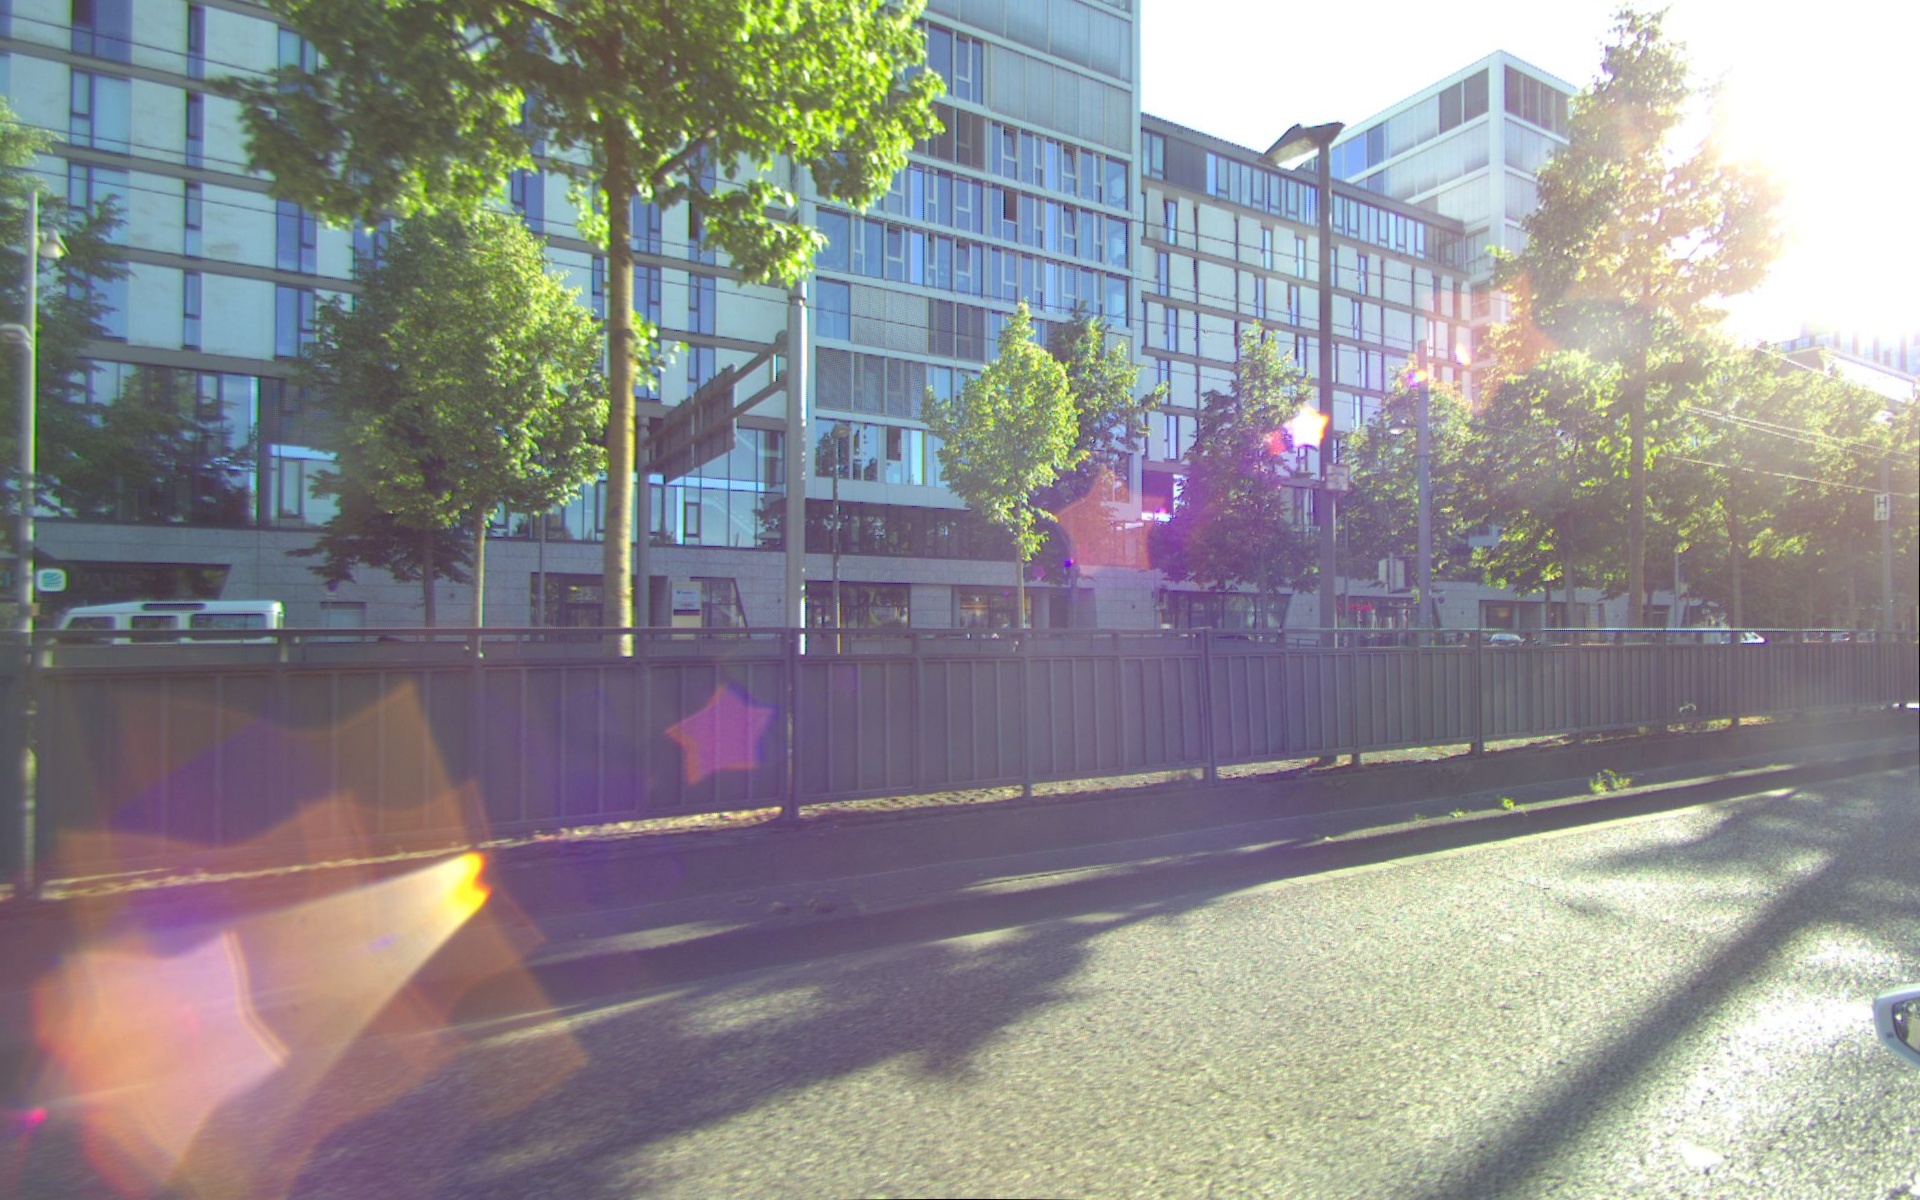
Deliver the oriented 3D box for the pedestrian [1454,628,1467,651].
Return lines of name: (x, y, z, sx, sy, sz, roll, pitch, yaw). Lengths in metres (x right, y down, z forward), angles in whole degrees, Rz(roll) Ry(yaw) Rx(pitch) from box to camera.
pedestrian: (30.526, 2.403, 61.252, 0.682, 1.431, 0.406, 2, -2, -30)

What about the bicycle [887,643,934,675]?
bicycle: (-1.815, 2.139, 36.741, 1.551, 1.135, 0.729, 1, -1, -28)

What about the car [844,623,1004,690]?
car: (-0.879, 1.358, 24.932, 3.657, 1.540, 1.671, 1, -2, -31)

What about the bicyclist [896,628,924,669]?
bicyclist: (-1.832, 1.763, 36.743, 0.821, 1.483, 0.717, 1, -1, -28)

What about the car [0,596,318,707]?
car: (-13.966, 0.873, 17.853, 4.178, 1.773, 1.984, 1, -2, -30)

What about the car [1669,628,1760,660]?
car: (34.983, 2.012, 46.573, 4.457, 1.422, 1.809, 1, -2, -31)

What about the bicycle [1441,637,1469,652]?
bicycle: (30.424, 2.751, 61.748, 1.991, 0.892, 0.539, 2, -2, -31)

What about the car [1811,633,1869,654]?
car: (64.390, 3.181, 73.493, 4.489, 1.438, 1.708, 1, -3, -29)

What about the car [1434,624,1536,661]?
car: (21.708, 1.779, 41.483, 4.284, 1.422, 1.751, 3, -2, -31)
